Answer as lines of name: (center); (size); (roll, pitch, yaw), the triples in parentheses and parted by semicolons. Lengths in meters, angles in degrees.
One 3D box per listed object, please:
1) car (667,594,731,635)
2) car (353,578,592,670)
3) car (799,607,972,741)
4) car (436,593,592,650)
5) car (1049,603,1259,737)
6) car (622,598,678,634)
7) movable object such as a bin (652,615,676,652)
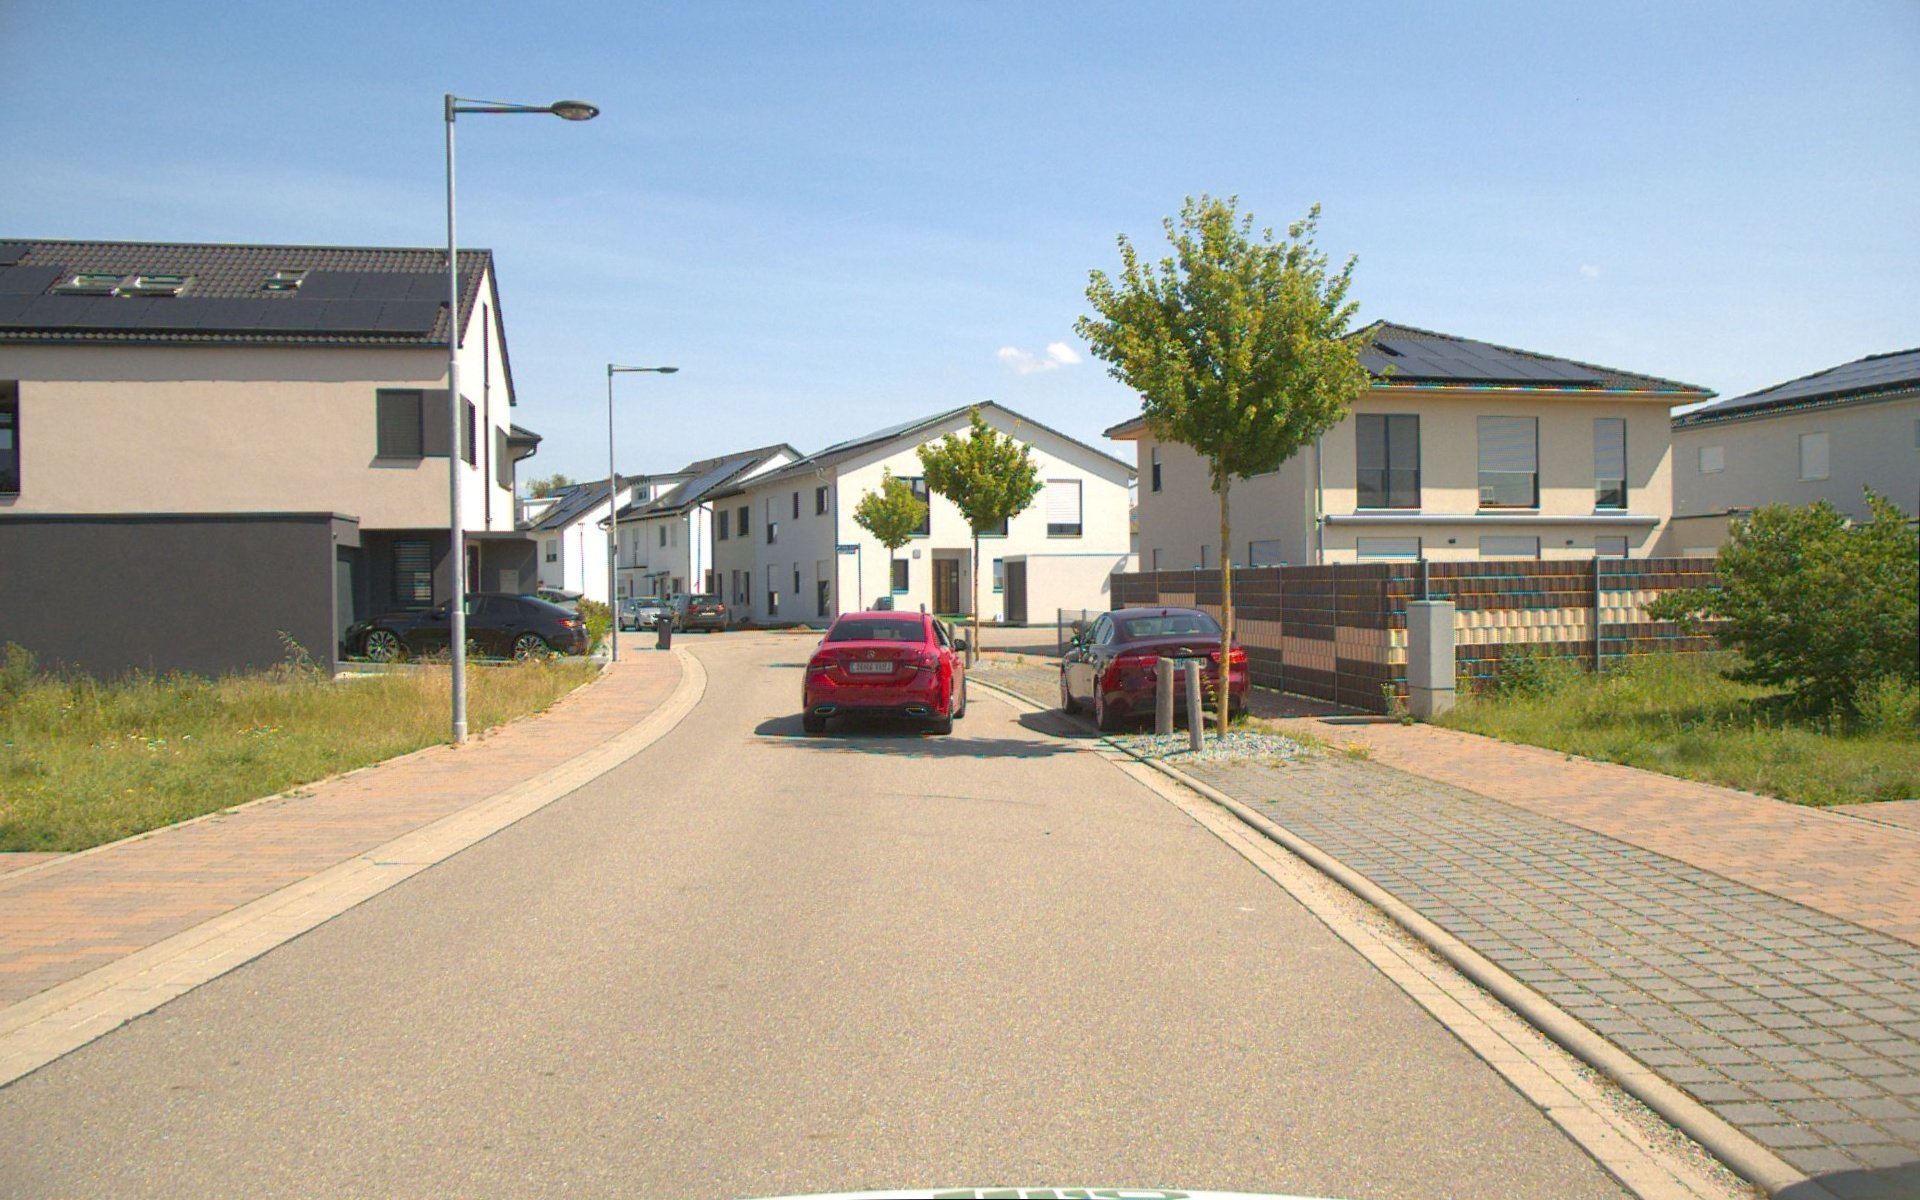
car: (-9.983, 0.533, 63.050); (1.701, 1.447, 3.977); (-1, 0, -19)
car: (-9.619, 0.474, 32.938); (4.294, 1.660, 1.767); (2, 0, -9)
car: (-0.818, 0.832, 20.739); (1.726, 1.463, 4.521); (0, 0, 3)
car: (-12.292, 0.571, 45.790); (3.911, 1.512, 1.752); (0, 0, -7)
car: (2.350, 0.800, 21.232); (1.721, 1.386, 4.571); (-4, 0, -5)
car: (-13.615, 0.699, 72.417); (1.654, 1.489, 3.918); (-1, 0, -22)
movable object such as a bin: (-7.775, 0.890, 43.487); (0.523, 0.952, 0.526); (1, 0, 1)
